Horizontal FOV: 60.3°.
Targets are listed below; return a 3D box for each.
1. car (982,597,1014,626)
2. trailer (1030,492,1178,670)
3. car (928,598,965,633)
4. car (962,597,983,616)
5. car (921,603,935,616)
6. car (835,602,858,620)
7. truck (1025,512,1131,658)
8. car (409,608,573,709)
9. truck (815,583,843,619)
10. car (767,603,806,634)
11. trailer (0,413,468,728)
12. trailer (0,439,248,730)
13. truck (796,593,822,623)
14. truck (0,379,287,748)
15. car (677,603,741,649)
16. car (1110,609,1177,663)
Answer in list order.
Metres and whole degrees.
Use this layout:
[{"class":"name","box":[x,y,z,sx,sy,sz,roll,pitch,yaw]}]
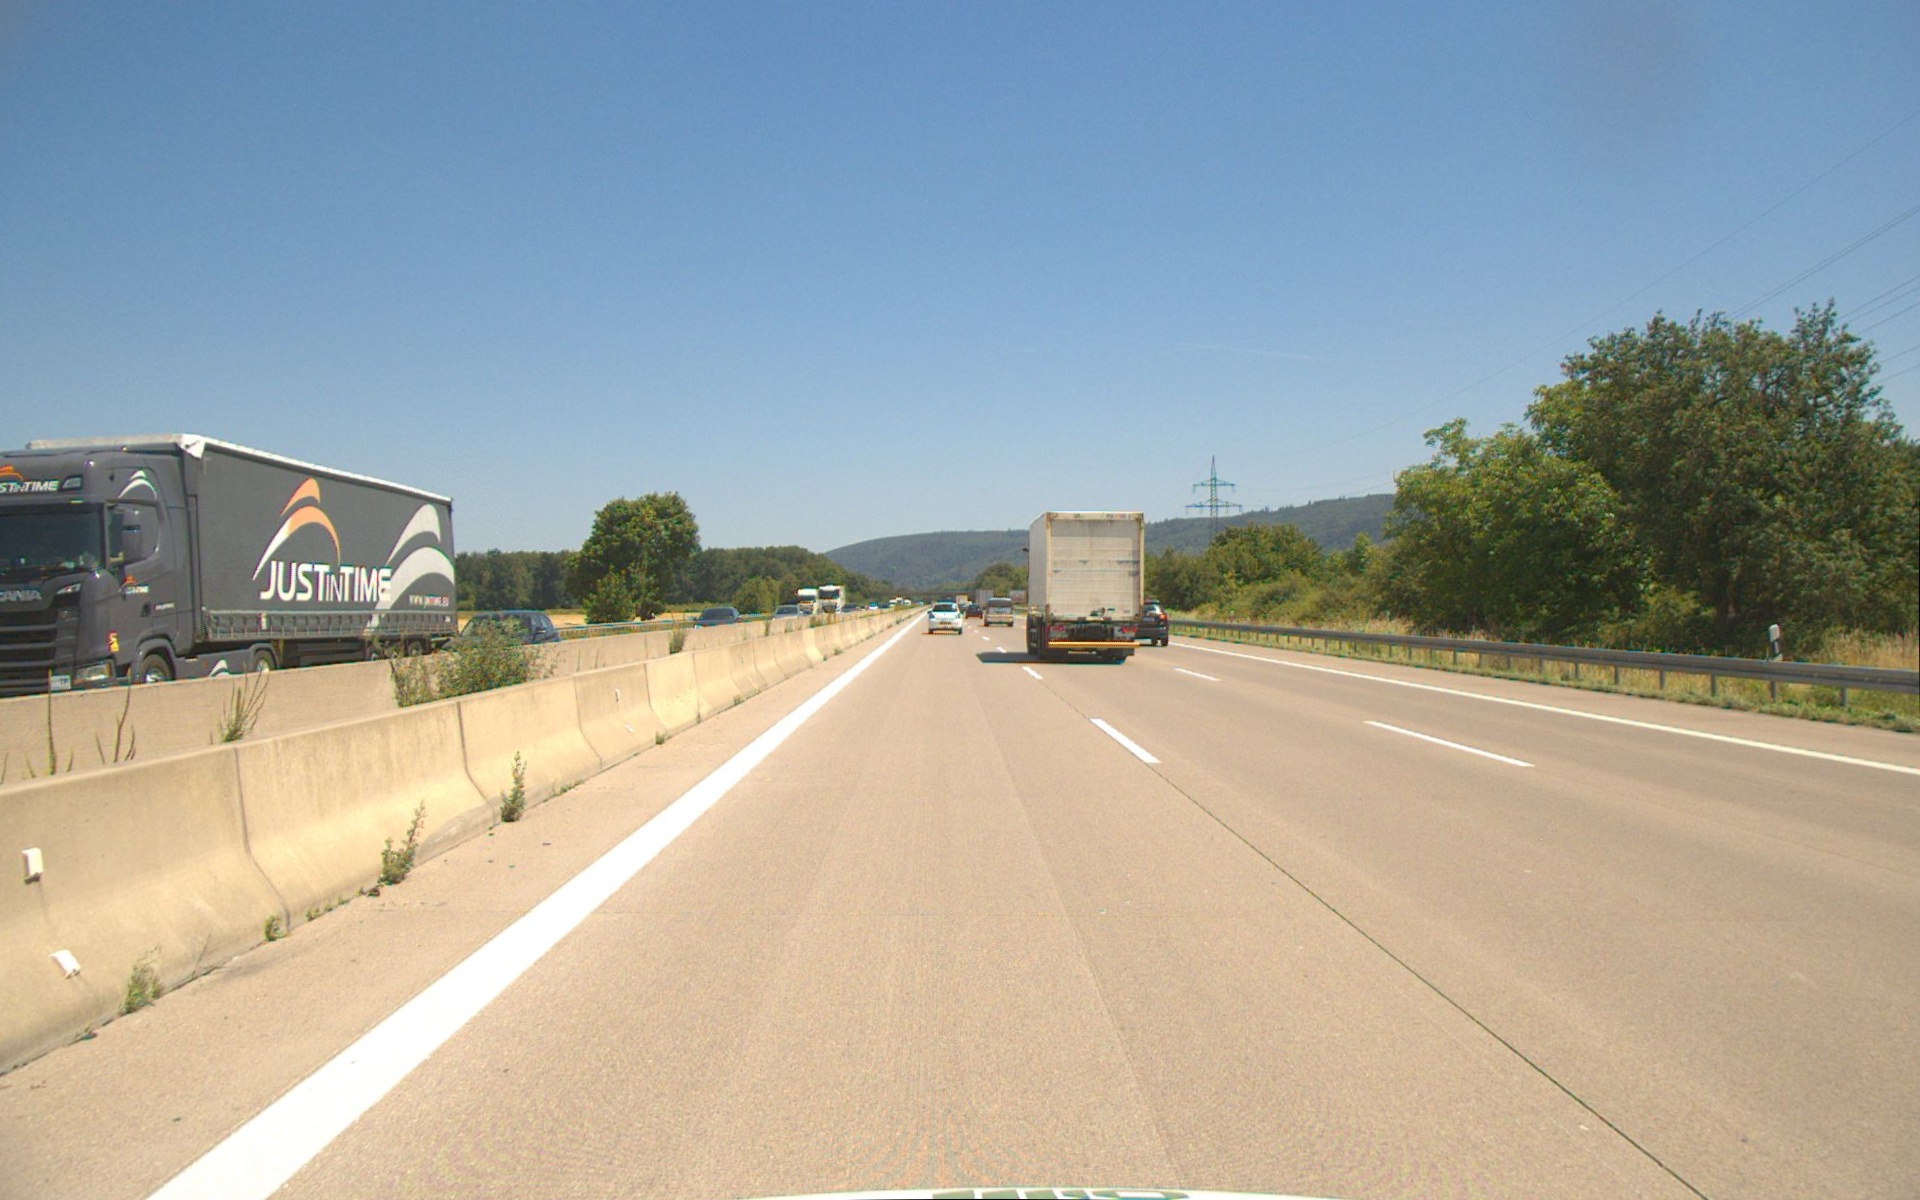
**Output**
[{"class":"car","box":[2.569,0.772,112.109,1.953,1.881,3.999,1,0,-1]},{"class":"trailer","box":[3.442,-0.411,42.148,2.529,3.945,10.369,1,0,-2]},{"class":"car","box":[-0.686,0.749,81.617,1.783,1.691,3.999,0,0,-2]},{"class":"car","box":[1.245,0.676,168.931,1.953,1.881,3.998,3,0,-2]},{"class":"car","box":[-4.379,1.286,229.269,1.890,1.825,3.999,1,0,-2]},{"class":"car","box":[-10.864,1.046,159.156,1.825,1.759,4.141,1,0,1]},{"class":"truck","box":[3.314,-0.403,47.611,2.529,3.945,4.982,1,0,-2]},{"class":"car","box":[-9.205,1.087,32.907,1.953,1.814,4.743,1,0,-1]},{"class":"truck","box":[-14.971,0.097,189.805,2.842,4.039,5.044,1,0,-1]},{"class":"car","box":[-10.137,1.044,96.951,1.844,1.724,4.681,1,0,-1]},{"class":"trailer","box":[-13.043,-0.417,31.429,3.201,4.554,14.448,-1,0,-1]},{"class":"trailer","box":[-17.096,-0.258,29.959,3.166,4.687,12.290,1,0,-1]},{"class":"truck","box":[-19.505,0.982,214.501,2.746,3.752,7.235,1,0,-1]},{"class":"truck","box":[-12.842,-0.425,24.037,3.201,4.554,7.188,-1,0,-1]},{"class":"car","box":[-9.697,0.983,64.188,1.866,1.680,4.931,1,0,-2]},{"class":"car","box":[6.914,1.342,62.783,1.953,1.881,3.999,3,0,-1]}]
